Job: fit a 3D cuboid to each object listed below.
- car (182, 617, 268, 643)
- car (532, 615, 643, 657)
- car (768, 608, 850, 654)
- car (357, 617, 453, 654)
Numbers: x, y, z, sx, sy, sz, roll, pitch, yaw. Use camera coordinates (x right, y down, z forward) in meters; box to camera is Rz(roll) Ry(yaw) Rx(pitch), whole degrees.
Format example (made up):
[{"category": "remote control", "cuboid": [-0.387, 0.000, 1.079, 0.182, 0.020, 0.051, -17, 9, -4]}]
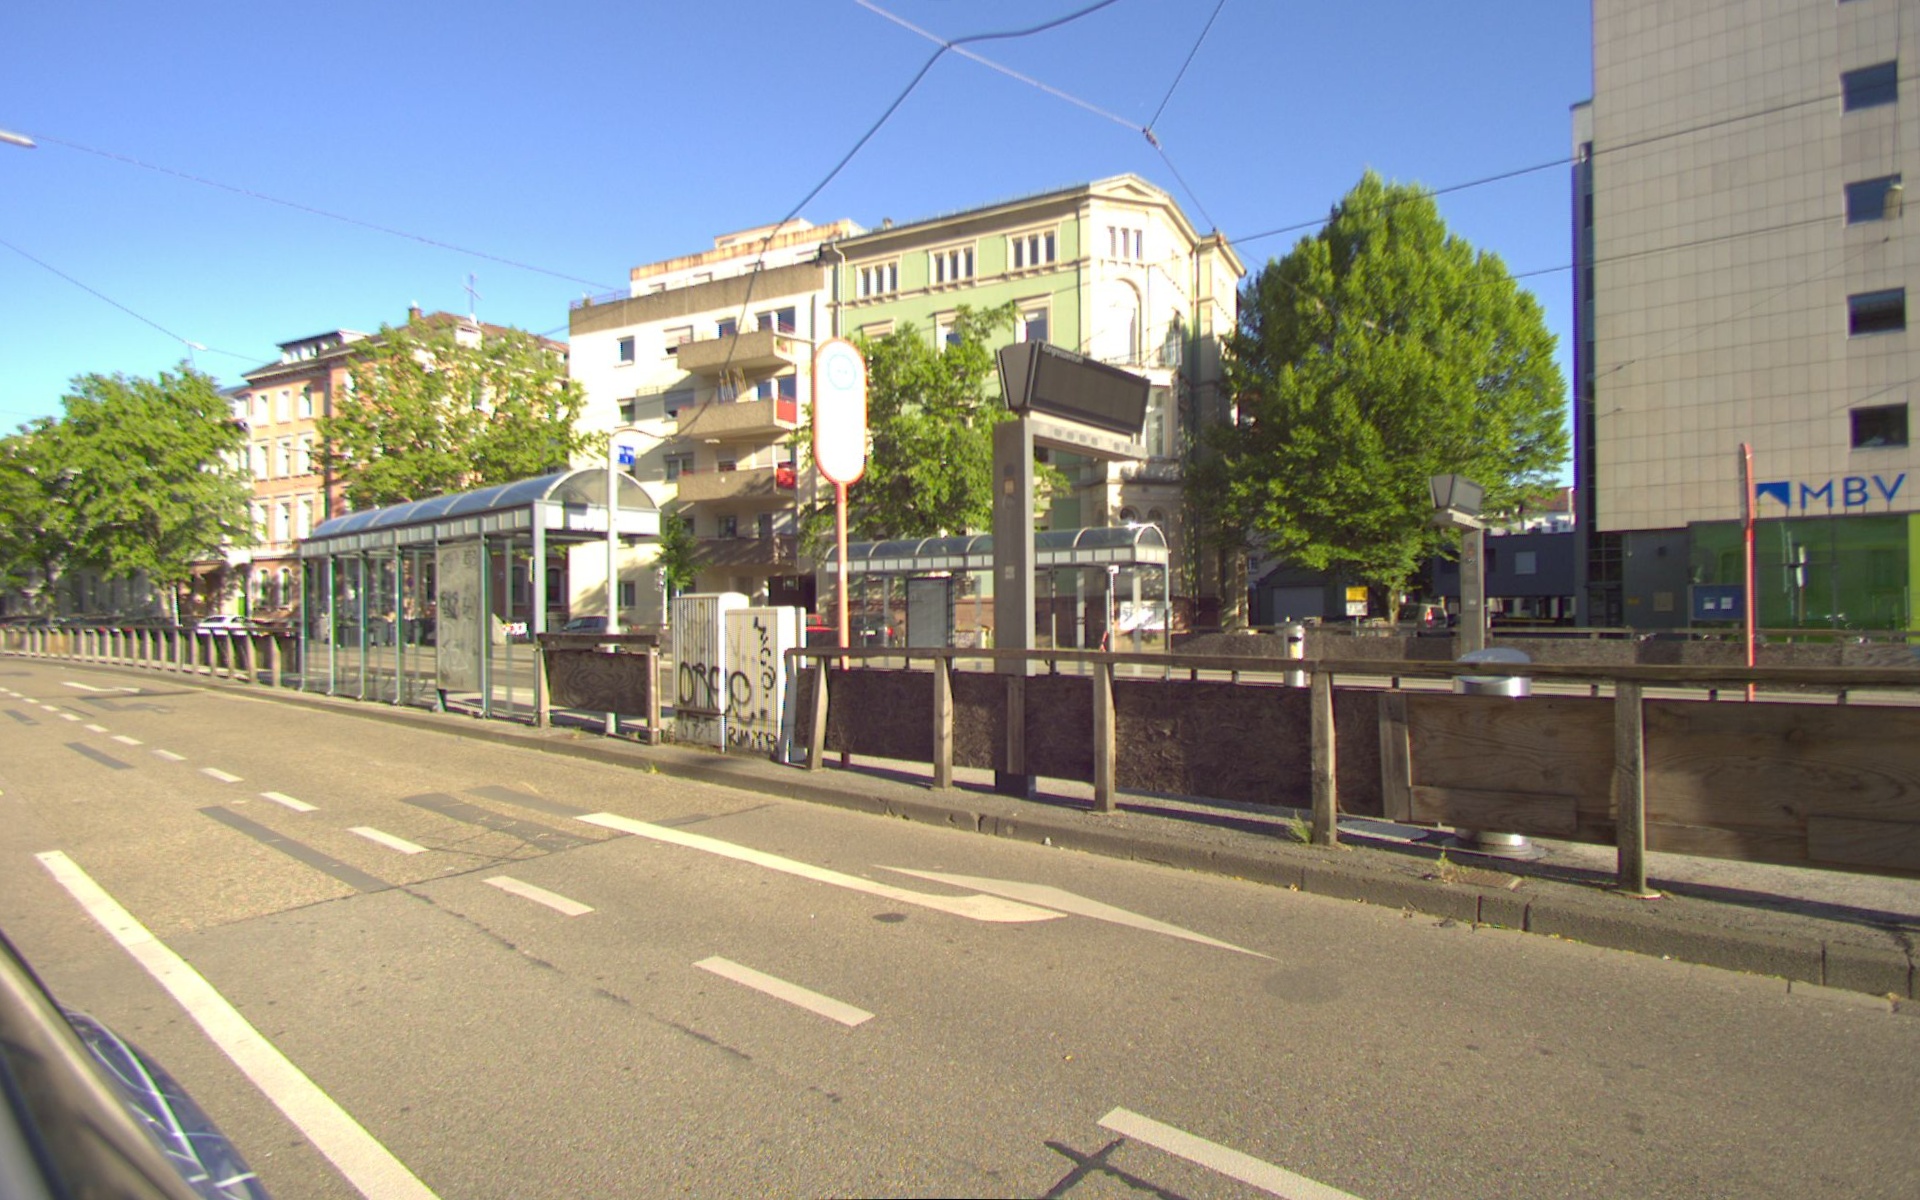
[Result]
[{"category": "car", "cuboid": [-39.232, 1.578, 54.123, 1.565, 1.360, 3.631, 0, -1, 11]}, {"category": "car", "cuboid": [-14.244, 1.381, 38.669, 3.987, 1.542, 1.978, -1, -3, 32]}, {"category": "car", "cuboid": [-6.830, 1.392, 46.170, 1.791, 2.029, 3.963, -1, -1, 27]}, {"category": "car", "cuboid": [-23.923, 1.512, 43.597, 3.987, 1.541, 1.978, -1, -2, 32]}]
